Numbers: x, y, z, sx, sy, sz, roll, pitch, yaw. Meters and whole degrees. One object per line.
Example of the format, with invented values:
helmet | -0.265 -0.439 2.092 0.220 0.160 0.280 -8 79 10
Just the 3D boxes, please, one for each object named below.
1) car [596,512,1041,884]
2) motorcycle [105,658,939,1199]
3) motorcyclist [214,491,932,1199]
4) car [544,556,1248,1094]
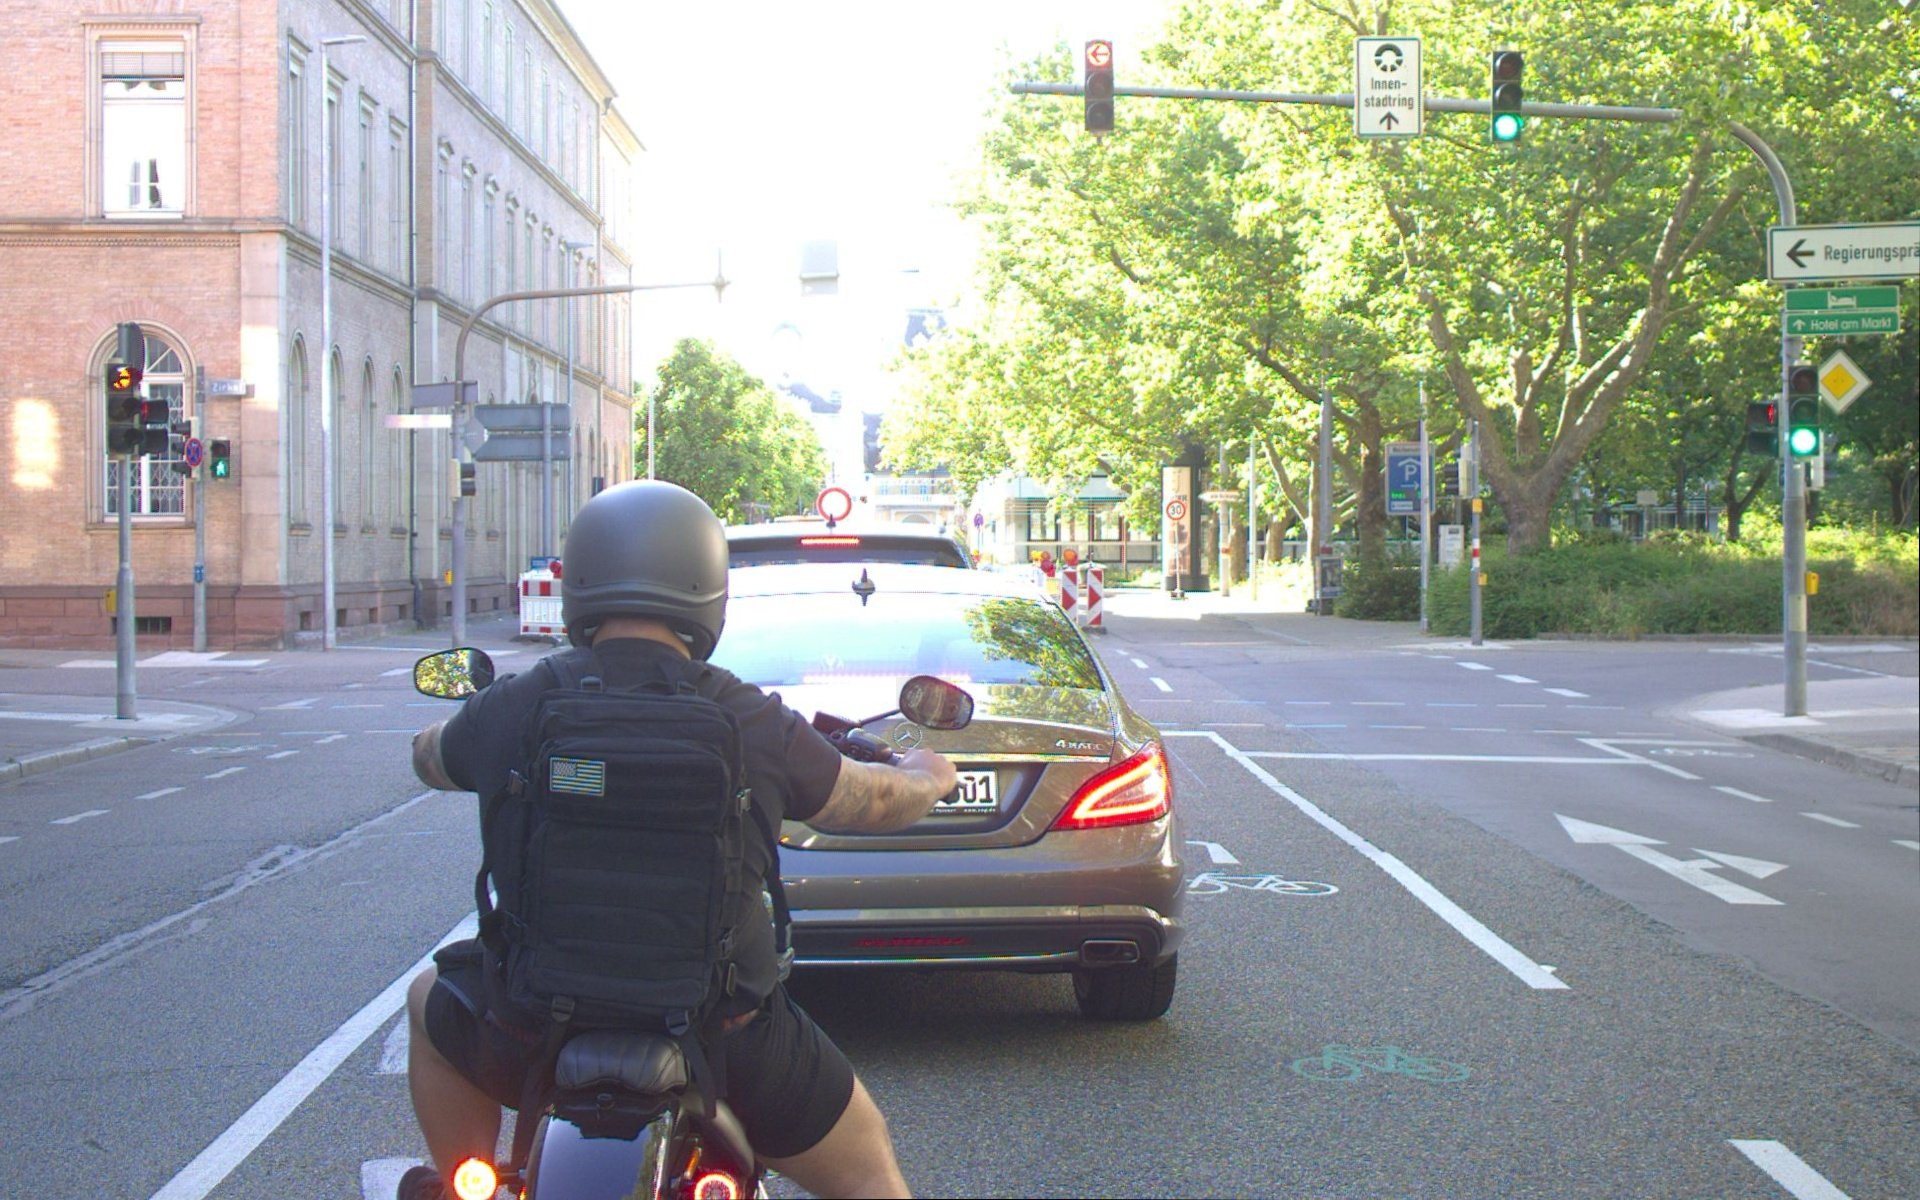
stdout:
car | -0.663 0.424 17.576 1.993 1.660 4.000 1 1 -1
motorcycle | -0.529 0.766 5.259 0.980 1.271 2.407 0 1 -1
motorcyclist | -0.536 0.626 5.337 0.980 1.573 1.248 0 1 -1
car | -0.429 0.582 11.654 1.869 1.439 4.431 0 1 -8
